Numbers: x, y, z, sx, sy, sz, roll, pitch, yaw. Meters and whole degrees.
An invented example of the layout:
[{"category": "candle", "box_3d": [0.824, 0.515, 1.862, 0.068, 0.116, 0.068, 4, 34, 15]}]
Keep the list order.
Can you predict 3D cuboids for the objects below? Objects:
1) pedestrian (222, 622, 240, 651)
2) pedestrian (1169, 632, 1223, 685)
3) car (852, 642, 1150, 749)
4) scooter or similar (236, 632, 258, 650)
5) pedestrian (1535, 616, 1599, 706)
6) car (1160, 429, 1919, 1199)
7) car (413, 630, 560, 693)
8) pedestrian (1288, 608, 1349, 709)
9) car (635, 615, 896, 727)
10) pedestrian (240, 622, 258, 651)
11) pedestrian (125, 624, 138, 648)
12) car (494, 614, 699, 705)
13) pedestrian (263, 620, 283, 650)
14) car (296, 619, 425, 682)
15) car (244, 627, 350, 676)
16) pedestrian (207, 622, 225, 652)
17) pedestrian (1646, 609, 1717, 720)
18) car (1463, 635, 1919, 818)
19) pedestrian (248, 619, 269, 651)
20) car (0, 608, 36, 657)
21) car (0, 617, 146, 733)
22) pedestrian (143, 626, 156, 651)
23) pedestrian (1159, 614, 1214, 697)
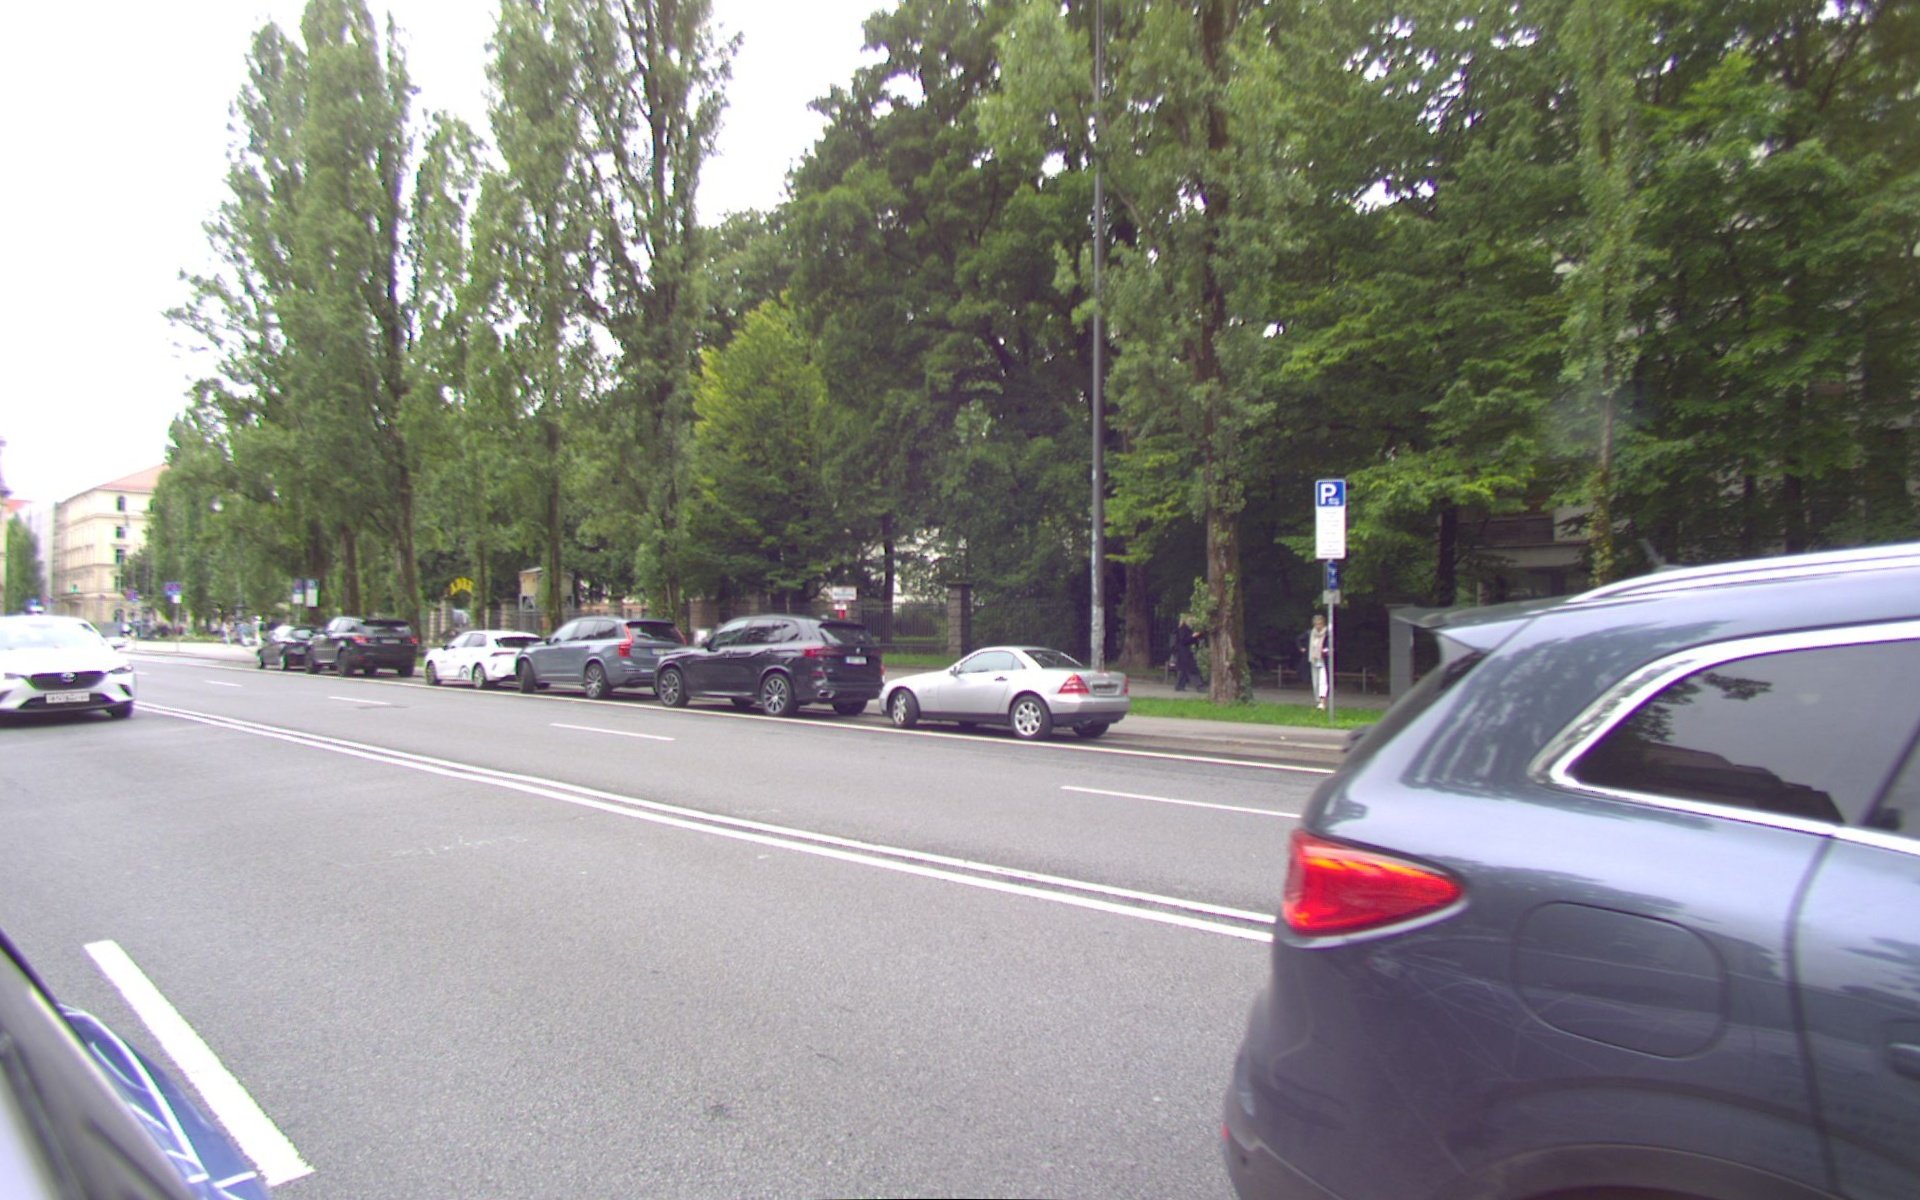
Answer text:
[{"category": "pedestrian", "box_3d": [-43.607, 2.200, 60.537, 0.885, 1.713, 0.681, -2, -3, 39]}, {"category": "pedestrian", "box_3d": [5.616, 1.371, 24.089, 0.922, 1.187, 0.957, -1, -1, 40]}, {"category": "car", "box_3d": [0.517, 1.348, 15.140, 4.230, 1.344, 1.808, -1, -4, 40]}, {"category": "scooter or similar", "box_3d": [-47.801, 2.764, 67.833, 1.413, 1.187, 0.738, -2, -4, 36]}, {"category": "pedestrian", "box_3d": [11.238, 1.104, 18.733, 0.881, 1.611, 0.729, -1, -1, 41]}, {"category": "car", "box_3d": [2.511, 0.593, 1.025, 4.183, 1.598, 1.816, -1, -1, 41]}, {"category": "car", "box_3d": [-12.072, 1.536, 25.692, 4.269, 1.470, 1.687, -1, -4, 40]}, {"category": "pedestrian", "box_3d": [6.115, 0.981, 17.251, 0.751, 1.677, 0.730, -2, -3, 41]}, {"category": "car", "box_3d": [-3.639, 1.234, 18.431, 4.890, 1.781, 1.922, -1, -5, 39]}, {"category": "pedestrian", "box_3d": [-42.956, 2.218, 61.112, 0.910, 1.729, 0.653, -2, -3, 40]}, {"category": "pedestrian", "box_3d": [-61.143, 2.651, 74.677, 0.581, 1.744, 0.527, -1, -2, 29]}, {"category": "car", "box_3d": [-8.165, 1.296, 22.490, 5.175, 1.803, 1.890, -1, -5, 40]}, {"category": "pedestrian", "box_3d": [-40.910, 2.082, 60.253, 1.092, 1.786, 0.702, -1, -2, 39]}, {"category": "car", "box_3d": [-18.550, 1.554, 31.246, 4.798, 1.800, 2.024, -1, -4, 42]}, {"category": "car", "box_3d": [-23.242, 1.784, 35.424, 4.386, 1.596, 1.924, -2, -4, 41]}, {"category": "pedestrian", "box_3d": [-44.133, 2.167, 60.019, 0.907, 1.760, 0.623, -2, -3, 40]}, {"category": "pedestrian", "box_3d": [12.078, 1.052, 16.942, 0.889, 1.785, 0.729, -1, -1, 41]}, {"category": "car", "box_3d": [7.305, 1.103, 9.652, 4.229, 1.463, 1.753, -1, -4, 39]}, {"category": "pedestrian", "box_3d": [-41.348, 2.064, 59.674, 1.092, 1.847, 0.702, -1, -2, 39]}, {"category": "car", "box_3d": [-63.549, 2.162, 67.769, 4.481, 1.340, 1.776, 31, 12, 35]}, {"category": "car", "box_3d": [-13.872, 1.052, 15.219, 4.007, 1.537, 1.885, -2, -2, 41]}, {"category": "pedestrian", "box_3d": [-57.352, 2.715, 71.591, 0.581, 1.744, 0.527, -1, -2, 29]}, {"category": "pedestrian", "box_3d": [4.925, 1.187, 22.005, 0.956, 1.755, 0.659, -2, -2, 41]}]
